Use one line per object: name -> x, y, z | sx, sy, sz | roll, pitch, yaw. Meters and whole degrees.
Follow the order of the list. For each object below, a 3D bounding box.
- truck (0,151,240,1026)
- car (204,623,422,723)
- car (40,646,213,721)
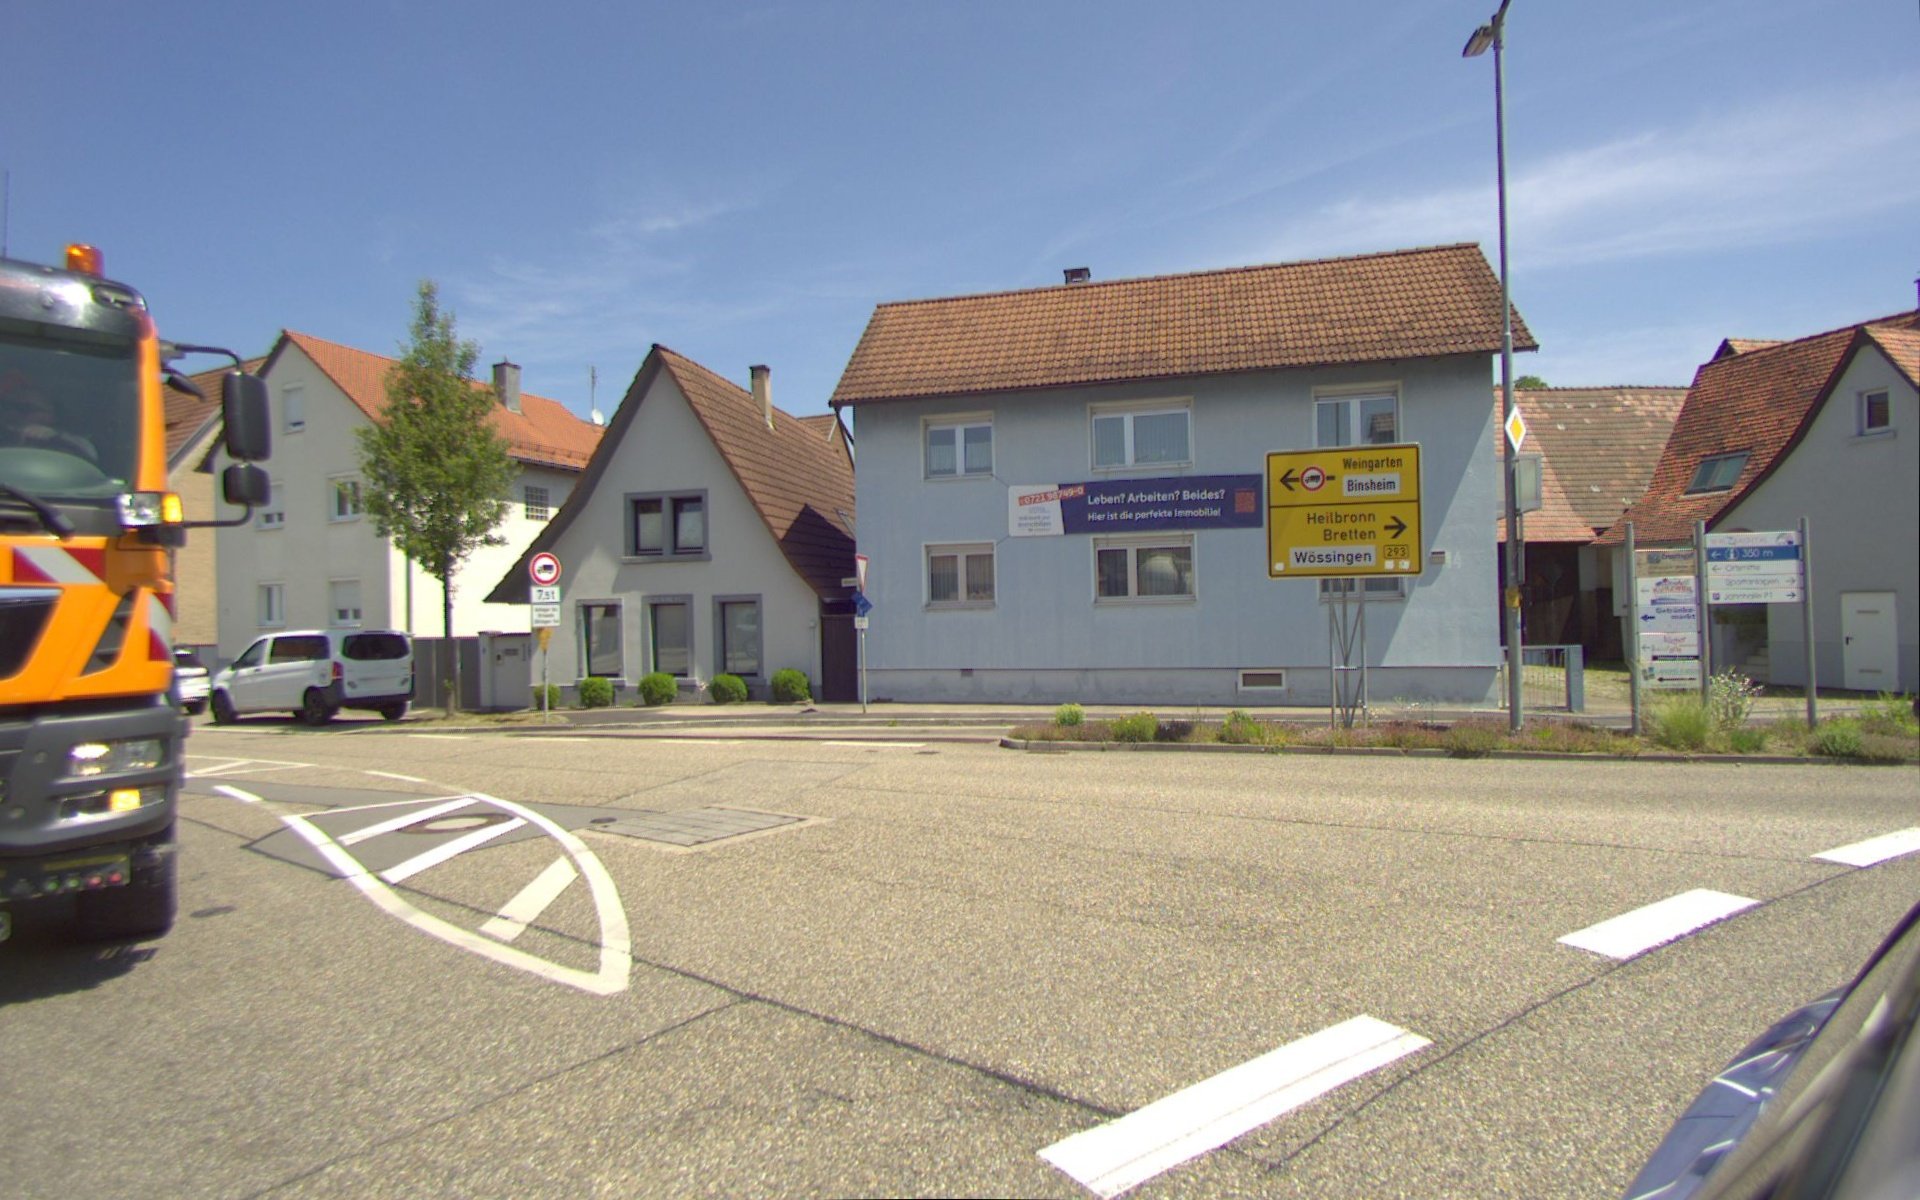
truck -> -6.445, 0.128, 6.090 | 2.624, 3.222, 7.445 | -1, -2, -42
car -> -13.965, 1.580, 21.838 | 4.277, 1.937, 1.983 | -4, -2, 25
car -> -20.616, 2.014, 25.022 | 4.165, 1.655, 1.806 | -2, -1, 27
